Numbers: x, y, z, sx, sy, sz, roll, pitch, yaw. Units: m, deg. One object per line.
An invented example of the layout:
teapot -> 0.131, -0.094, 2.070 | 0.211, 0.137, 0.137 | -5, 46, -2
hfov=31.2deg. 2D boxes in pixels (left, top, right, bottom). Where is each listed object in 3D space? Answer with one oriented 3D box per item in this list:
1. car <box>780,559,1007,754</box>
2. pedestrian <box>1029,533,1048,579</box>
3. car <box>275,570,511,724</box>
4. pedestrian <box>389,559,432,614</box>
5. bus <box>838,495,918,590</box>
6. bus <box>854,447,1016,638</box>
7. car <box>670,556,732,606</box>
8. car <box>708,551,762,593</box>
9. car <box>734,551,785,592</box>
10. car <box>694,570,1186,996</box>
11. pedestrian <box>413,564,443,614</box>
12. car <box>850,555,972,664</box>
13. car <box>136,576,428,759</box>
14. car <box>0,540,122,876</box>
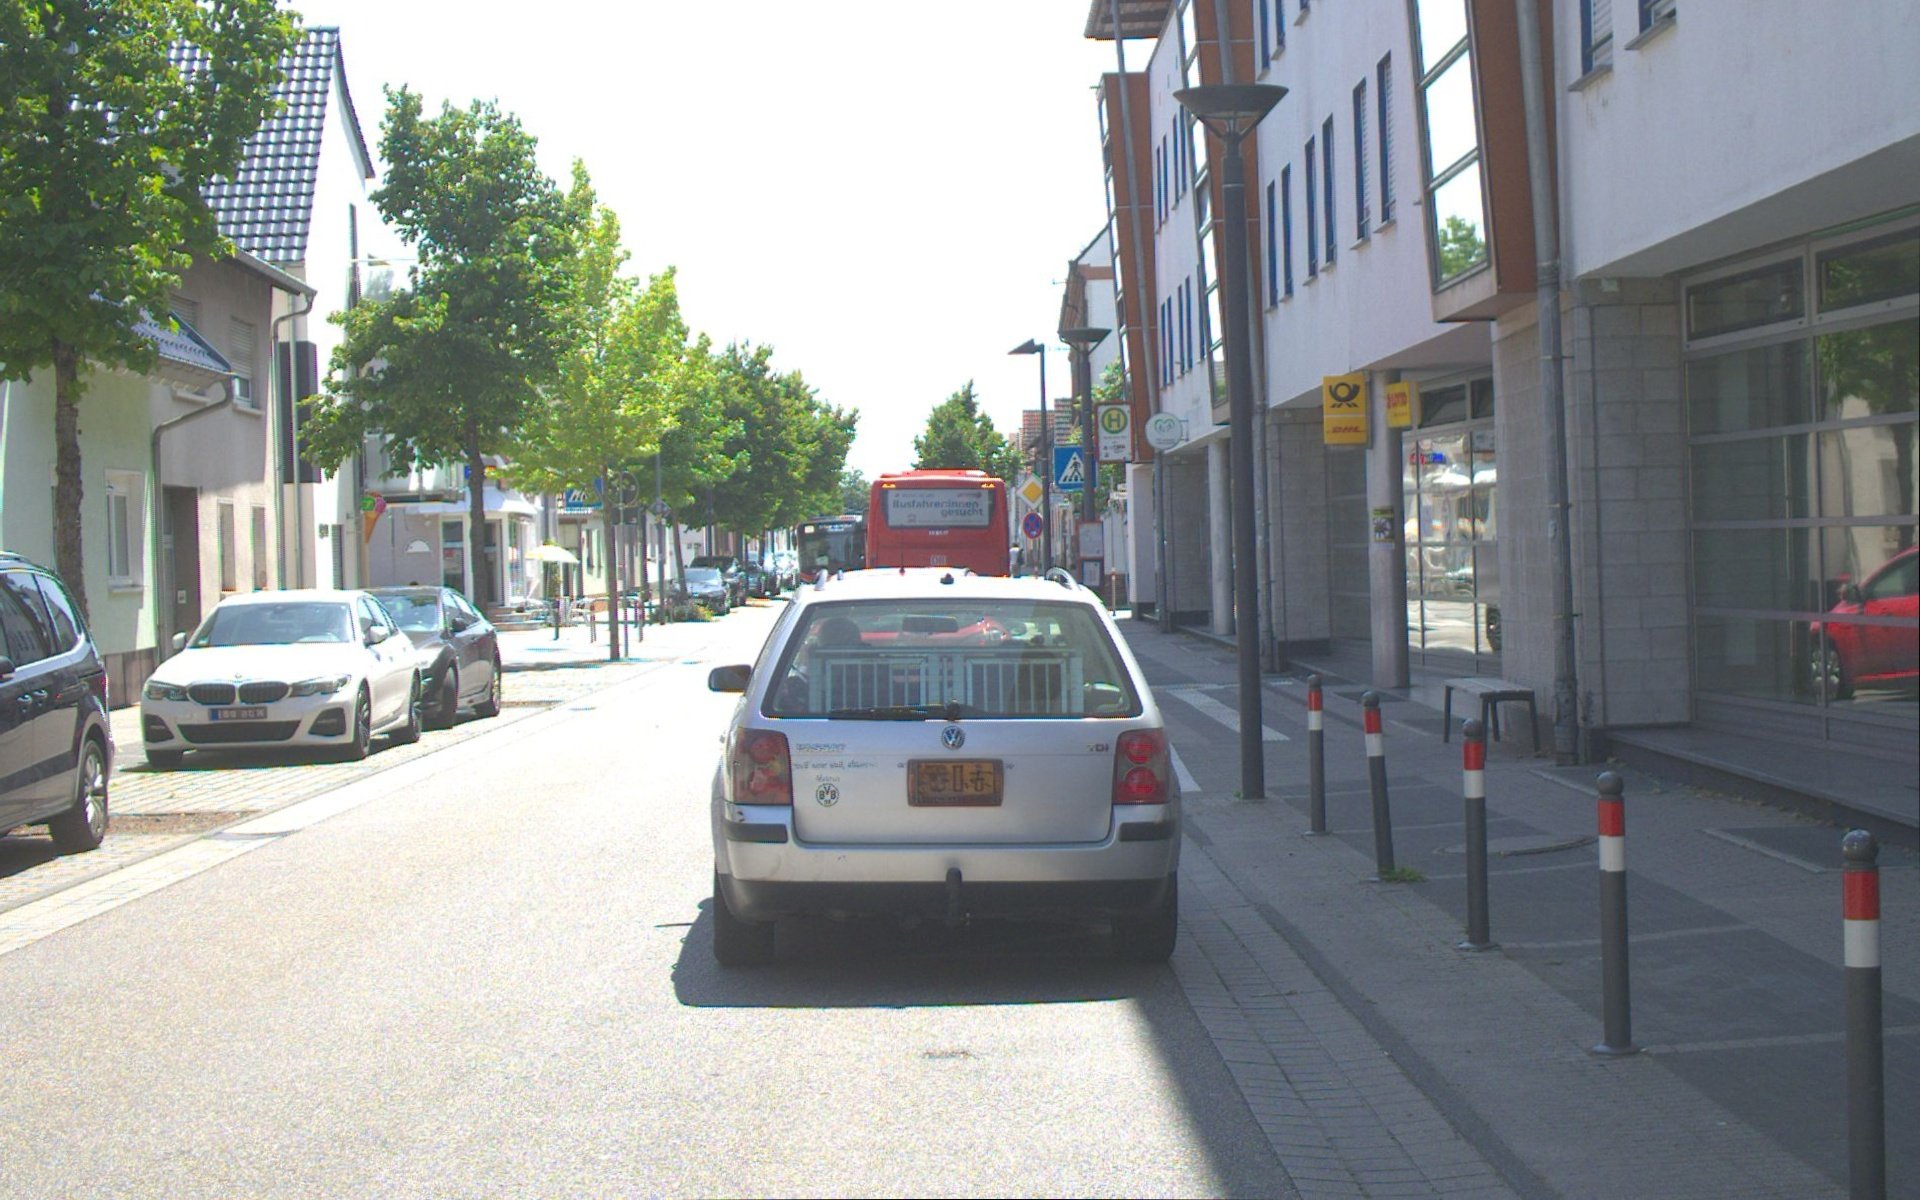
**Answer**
car -> -0.514, 0.394, 27.278 | 1.677, 1.425, 3.680 | 0, 1, -1
pedestrian -> 2.878, -1.614, 125.814 | 0.606, 1.661, 0.789 | -2, 1, -2
car -> -5.846, 0.440, 35.918 | 1.660, 1.432, 4.538 | -2, 1, 0
pedestrian -> -12.782, -0.316, 80.001 | 0.634, 1.284, 0.789 | 0, 1, -44
bus -> -3.369, -2.430, 136.967 | 2.668, 3.112, 17.811 | -1, 3, -3
bus -> -0.632, -1.074, 66.400 | 2.740, 3.287, 12.706 | -1, 1, -2
car -> -7.849, -0.589, 104.569 | 1.605, 1.433, 4.065 | -2, 1, -1
car -> -8.572, -1.082, 131.268 | 1.811, 1.553, 4.000 | -2, 1, -1
car -> -8.020, -1.149, 137.769 | 1.811, 1.553, 4.000 | -2, 1, -1
car -> -0.089, 0.615, 13.658 | 1.677, 1.425, 3.680 | 1, 1, -1
pedestrian -> -12.562, -0.260, 81.172 | 0.622, 1.175, 0.697 | -2, 1, -5
car -> -0.637, 0.097, 47.120 | 1.593, 1.425, 3.679 | 0, 1, 0
car -> -5.882, 0.533, 30.324 | 1.720, 1.432, 4.460 | -1, 1, -1
car -> -5.846, 0.569, 18.229 | 1.775, 1.720, 4.520 | -2, 1, -2
